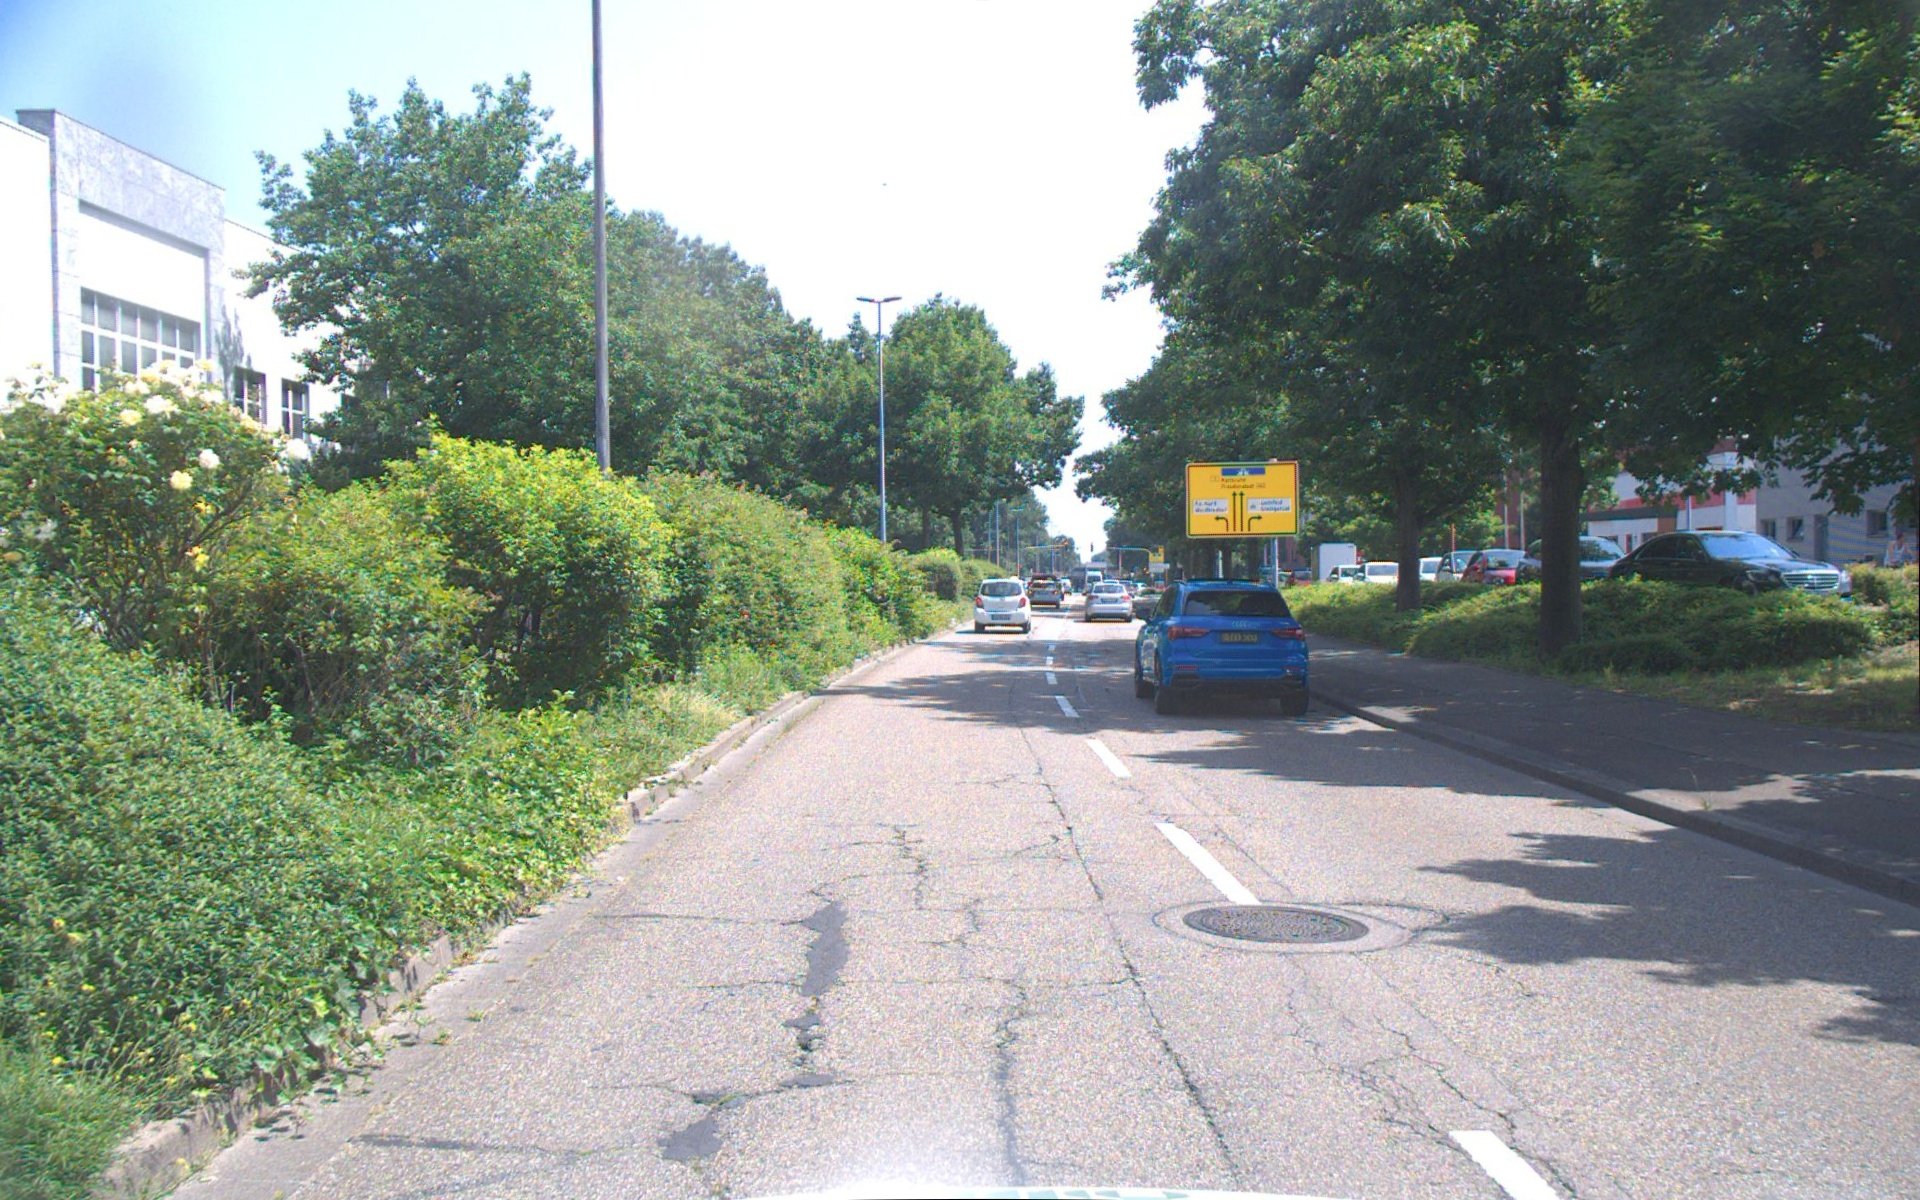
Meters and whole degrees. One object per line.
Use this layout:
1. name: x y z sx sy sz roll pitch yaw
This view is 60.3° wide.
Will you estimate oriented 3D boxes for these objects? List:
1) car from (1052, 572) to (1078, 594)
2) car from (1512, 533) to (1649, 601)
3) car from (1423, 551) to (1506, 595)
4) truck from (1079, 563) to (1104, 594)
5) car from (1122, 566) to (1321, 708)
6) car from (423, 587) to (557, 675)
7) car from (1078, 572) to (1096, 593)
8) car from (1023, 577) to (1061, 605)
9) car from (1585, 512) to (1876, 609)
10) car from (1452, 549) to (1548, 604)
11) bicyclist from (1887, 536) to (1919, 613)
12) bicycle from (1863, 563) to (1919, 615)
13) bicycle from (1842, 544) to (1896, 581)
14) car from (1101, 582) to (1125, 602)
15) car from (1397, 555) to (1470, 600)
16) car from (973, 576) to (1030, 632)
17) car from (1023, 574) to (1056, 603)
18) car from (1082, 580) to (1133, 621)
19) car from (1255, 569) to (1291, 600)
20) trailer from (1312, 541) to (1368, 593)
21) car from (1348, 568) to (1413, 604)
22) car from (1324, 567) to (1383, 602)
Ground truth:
1. car: 7.052 -1.117 111.373 1.457 1.416 3.307 0 0 -1
2. car: 13.013 -0.652 34.913 1.585 1.275 4.201 2 0 5
3. car: 13.646 -0.713 44.838 1.476 1.142 2.857 0 0 3
4. truck: 15.684 -2.535 197.297 2.870 3.564 9.163 -1 0 4
5. car: 3.214 0.440 21.127 1.772 1.620 4.348 0 0 -1
6. car: -9.645 0.604 34.203 1.696 1.666 3.472 -2 0 1
7. car: 14.336 -1.934 187.252 1.951 2.295 4.002 -1 0 4
8. car: 4.284 -0.441 86.037 1.845 1.378 4.002 0 0 5
9. car: 12.984 -0.591 28.380 1.869 1.476 5.593 0 0 -7
10. car: 13.230 -0.555 40.691 1.584 1.275 3.766 0 0 8
11. bicyclist: 23.156 -0.617 40.189 0.762 1.836 0.864 -1 0 2
12. bicycle: 23.027 -0.279 40.467 0.676 1.247 2.244 -1 0 3
13. bicycle: 26.091 -1.067 47.498 0.576 0.997 2.103 -1 0 6
14. car: 11.510 -0.593 124.852 1.412 1.372 3.459 -2 0 -1
15. car: 14.295 -0.667 50.127 1.584 1.275 3.869 0 0 8
16. car: 1.184 0.118 48.570 1.605 1.579 3.325 0 0 0
17. car: 4.769 -0.678 98.820 1.845 1.636 4.002 -1 0 4
18. car: 5.522 0.039 62.120 1.826 1.499 4.002 0 0 4
19. car: 17.585 -0.867 92.999 1.664 1.666 3.908 0 0 6
20. trailer: 15.694 -1.333 68.583 1.664 2.091 5.488 0 0 7
21. car: 14.605 -0.461 57.646 1.560 1.178 3.740 0 0 4
22. car: 15.026 -0.565 63.328 1.585 1.275 3.632 0 0 3
